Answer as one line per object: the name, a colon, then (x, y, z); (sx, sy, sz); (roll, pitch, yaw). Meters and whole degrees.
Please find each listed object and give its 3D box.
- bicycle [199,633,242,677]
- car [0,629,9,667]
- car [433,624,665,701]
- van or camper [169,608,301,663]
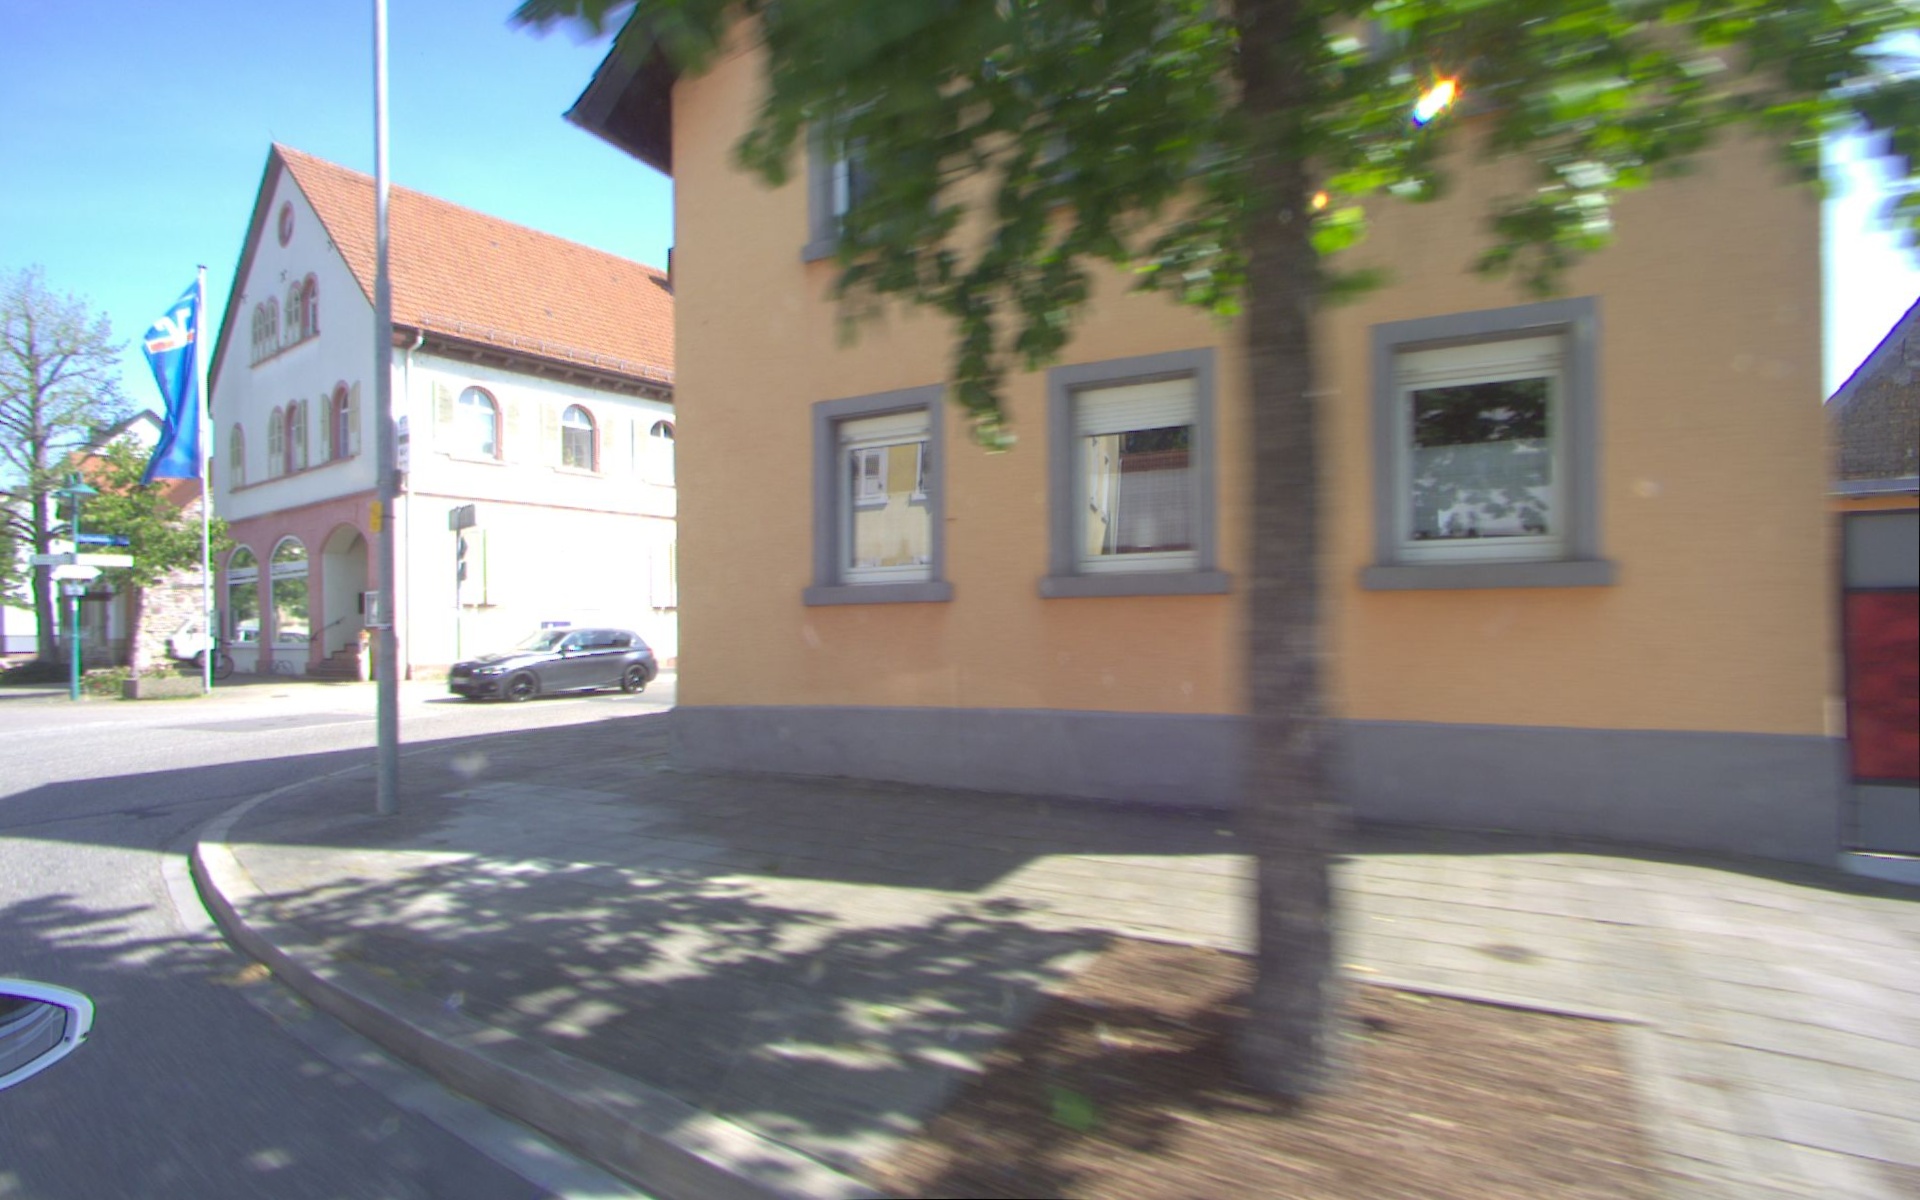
bicycle: (-20.329, 1.488, 27.518); (1.728, 1.150, 0.590); (-1, -1, 41)
car: (-36.559, 1.727, 35.478); (1.975, 1.362, 3.910); (-1, -1, 38)
car: (-8.252, 1.190, 20.494); (1.716, 1.394, 4.248); (-1, -1, 31)
van or camper: (-28.030, 1.337, 38.762); (3.960, 2.040, 1.981); (1, -1, -43)
